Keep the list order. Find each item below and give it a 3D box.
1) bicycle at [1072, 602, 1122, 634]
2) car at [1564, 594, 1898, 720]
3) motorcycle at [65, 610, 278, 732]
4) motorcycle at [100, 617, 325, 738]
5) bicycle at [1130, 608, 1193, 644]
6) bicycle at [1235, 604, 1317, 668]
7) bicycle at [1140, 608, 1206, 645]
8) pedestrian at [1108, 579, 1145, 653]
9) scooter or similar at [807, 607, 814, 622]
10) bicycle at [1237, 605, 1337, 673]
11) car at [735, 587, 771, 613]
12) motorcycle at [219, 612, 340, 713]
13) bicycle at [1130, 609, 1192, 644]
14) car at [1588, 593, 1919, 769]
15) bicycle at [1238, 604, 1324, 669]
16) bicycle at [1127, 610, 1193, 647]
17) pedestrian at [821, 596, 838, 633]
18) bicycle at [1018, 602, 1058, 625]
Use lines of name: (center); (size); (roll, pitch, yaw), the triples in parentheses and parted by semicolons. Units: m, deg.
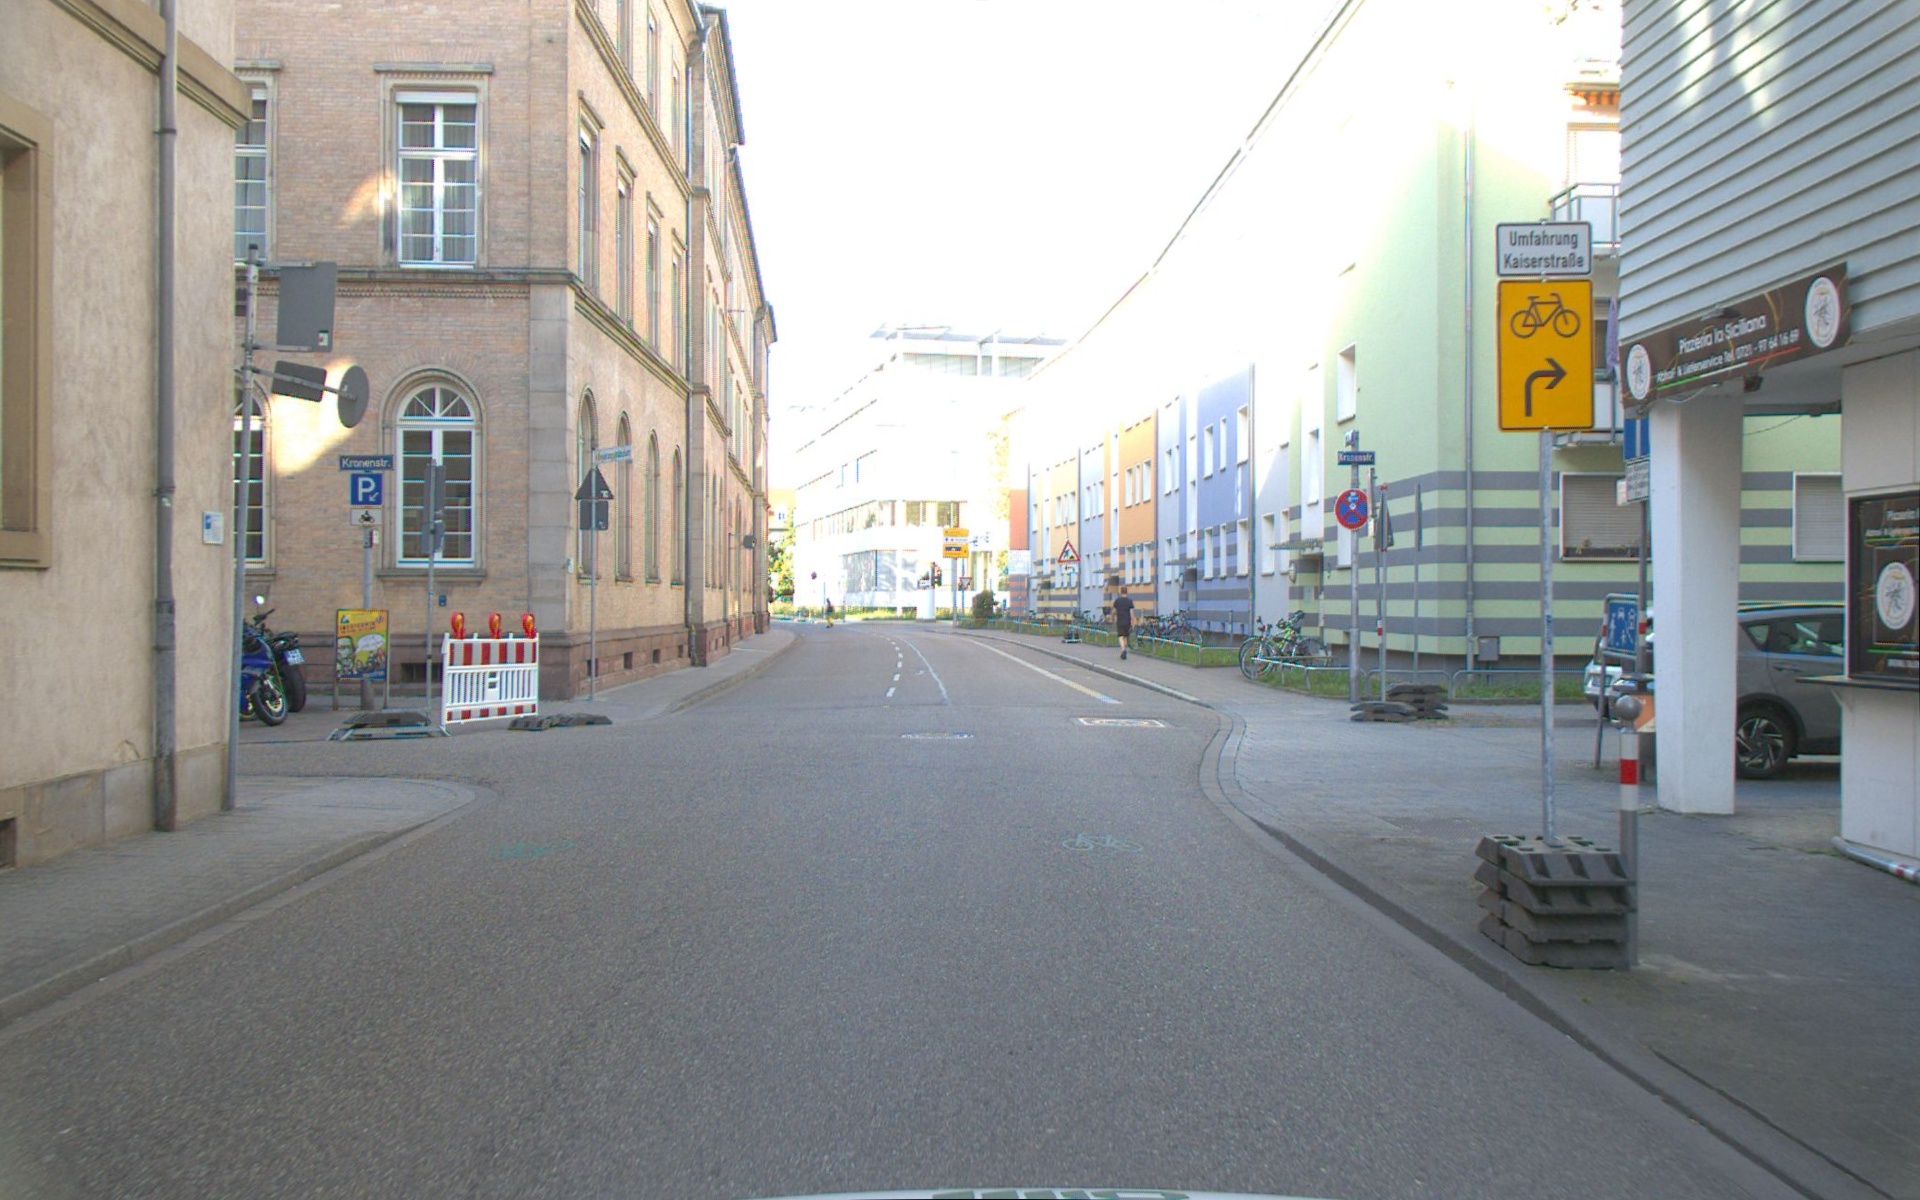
bicycle: (5.082, 0.662, 61.472); (1.775, 1.157, 0.551); (0, -1, -5)
car: (9.757, 0.701, 21.105); (3.473, 1.508, 1.708); (1, 0, -2)
motorcycle: (-9.199, 0.795, 19.377); (0.578, 1.316, 2.186); (0, 1, 44)
motorcycle: (-8.315, 0.824, 18.509); (0.577, 1.193, 2.272); (4, 3, 39)
bicycle: (5.696, 0.734, 46.713); (1.713, 0.963, 0.325); (-1, -1, -2)
bicycle: (6.244, 0.708, 32.690); (1.574, 1.161, 0.237); (-3, 0, -12)
bicycle: (5.871, 0.728, 45.655); (1.713, 0.963, 0.551); (-1, -1, -3)
pedestrian: (4.167, 0.387, 41.415); (0.683, 1.790, 1.188); (-2, 0, -3)
scooter or similar: (-11.301, 1.078, 124.902); (0.319, 1.078, 1.138); (0, 0, -14)
bicycle: (6.118, 0.721, 30.996); (1.714, 1.161, 0.551); (-3, 0, -3)
car: (-17.844, -0.008, 142.518); (2.384, 2.149, 5.210); (2, -1, -15)
motorcycle: (-8.661, 0.765, 21.002); (0.655, 1.194, 2.164); (-1, 1, -45)
bicycle: (5.730, 0.765, 47.194); (1.713, 0.963, 0.335); (-1, -1, -3)
car: (8.147, 0.699, 15.261); (3.997, 1.508, 1.864); (0, 0, -3)
bicycle: (6.287, 0.707, 32.418); (1.612, 1.161, 0.282); (-3, 0, -11)
bicycle: (5.423, 0.775, 44.905); (1.713, 0.963, 0.551); (-1, -1, -3)
pedestrian: (-7.373, 0.822, 93.716); (0.879, 2.049, 0.751); (0, -1, -11)
bicycle: (3.576, 0.624, 75.742); (1.720, 1.021, 0.612); (-1, -1, -8)
